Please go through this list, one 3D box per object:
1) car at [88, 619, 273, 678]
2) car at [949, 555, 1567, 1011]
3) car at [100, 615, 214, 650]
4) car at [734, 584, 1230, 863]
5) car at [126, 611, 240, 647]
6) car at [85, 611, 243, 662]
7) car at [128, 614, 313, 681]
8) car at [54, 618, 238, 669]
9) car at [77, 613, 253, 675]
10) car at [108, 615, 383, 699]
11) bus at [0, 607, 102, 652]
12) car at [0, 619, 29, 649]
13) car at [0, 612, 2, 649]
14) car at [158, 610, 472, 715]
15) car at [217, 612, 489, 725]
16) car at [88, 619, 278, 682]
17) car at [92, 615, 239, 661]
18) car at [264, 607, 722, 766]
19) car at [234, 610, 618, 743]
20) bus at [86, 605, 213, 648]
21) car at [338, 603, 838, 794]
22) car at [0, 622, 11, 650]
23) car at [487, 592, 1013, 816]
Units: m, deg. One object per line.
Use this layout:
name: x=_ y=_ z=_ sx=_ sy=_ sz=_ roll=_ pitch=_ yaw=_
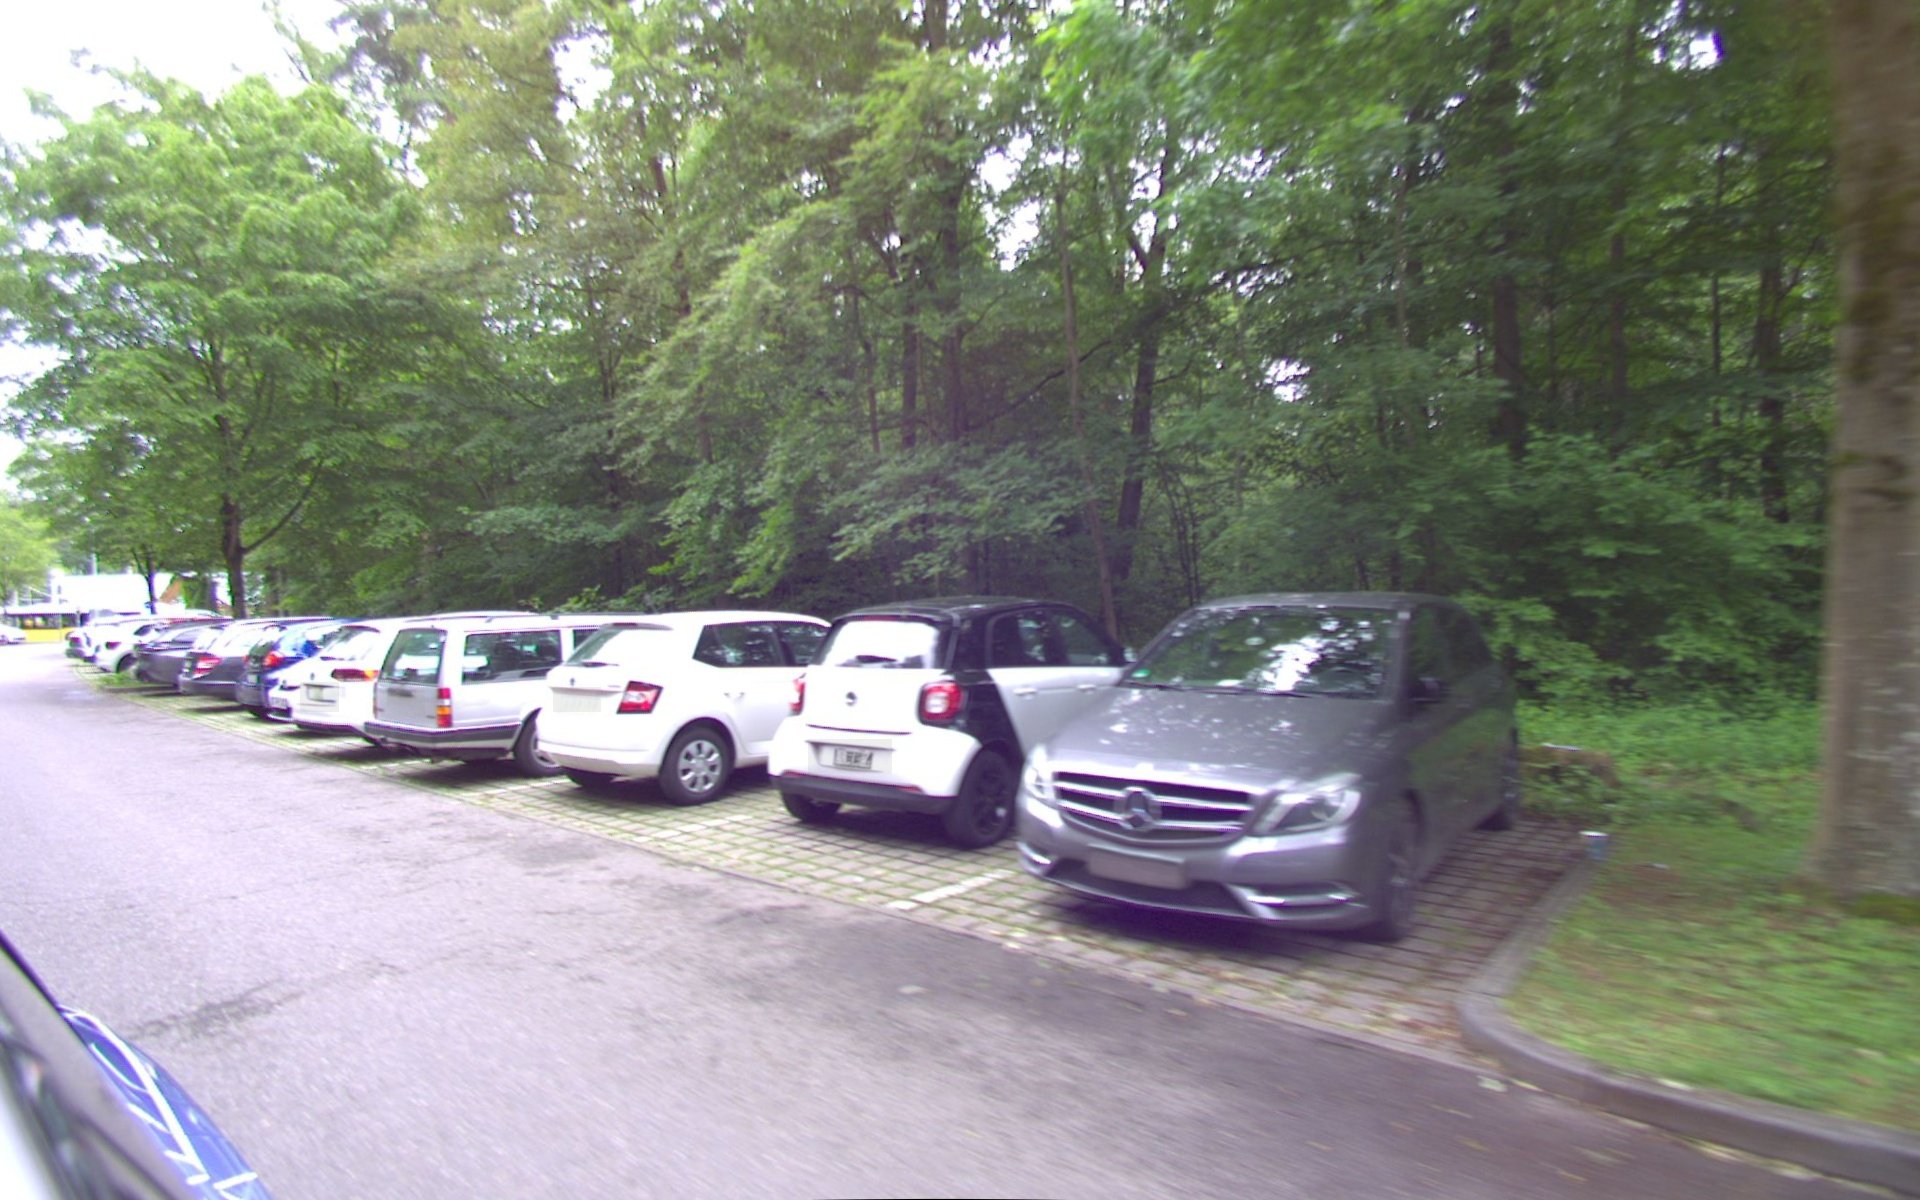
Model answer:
car: x=-21.207 y=1.267 z=27.622 sx=1.897 sy=1.432 sz=3.761 roll=-2 pitch=-1 yaw=43
car: x=1.949 y=0.627 z=5.650 sx=1.918 sy=1.567 sz=3.994 roll=-1 pitch=0 yaw=39
car: x=-40.139 y=1.574 z=50.735 sx=4.296 sy=1.610 sz=2.036 roll=-1 pitch=0 yaw=-34
car: x=0.456 y=0.692 z=7.927 sx=1.843 sy=1.562 sz=4.197 roll=-1 pitch=0 yaw=36
car: x=-45.198 y=1.651 z=59.029 sx=5.015 sy=1.930 sz=1.984 roll=-1 pitch=-1 yaw=-30
car: x=-27.681 y=1.228 z=35.281 sx=4.183 sy=1.660 sz=1.972 roll=0 pitch=-1 yaw=-43
car: x=-17.844 y=1.094 z=24.481 sx=3.424 sy=1.492 sz=1.685 roll=0 pitch=-1 yaw=-44
car: x=-26.597 y=1.374 z=33.164 sx=4.583 sy=1.489 sz=2.097 roll=0 pitch=-1 yaw=-42
car: x=-22.991 y=1.230 z=29.480 sx=3.907 sy=1.640 sz=2.003 roll=0 pitch=-1 yaw=-35
car: x=-14.627 y=1.089 z=20.869 sx=4.354 sy=1.435 sz=2.037 roll=-1 pitch=0 yaw=-45
bus: x=-71.473 y=2.225 z=76.007 sx=2.802 sy=3.183 sz=10.406 roll=-4 pitch=-2 yaw=31
car: x=-57.512 y=2.018 z=58.859 sx=4.456 sy=1.706 sz=2.172 roll=-1 pitch=0 yaw=-25
car: x=-54.881 y=1.760 z=54.339 sx=4.585 sy=2.036 sz=2.089 roll=-4 pitch=-1 yaw=-31
car: x=-10.986 y=0.974 z=17.413 sx=2.059 sy=1.497 sz=4.217 roll=-1 pitch=0 yaw=45
car: x=-9.158 y=0.952 z=15.411 sx=1.679 sy=1.455 sz=3.185 roll=-1 pitch=0 yaw=41
car: x=-19.791 y=1.231 z=25.844 sx=3.682 sy=1.430 sz=1.874 roll=0 pitch=-1 yaw=-44
car: x=-29.208 y=1.350 z=37.268 sx=4.182 sy=1.545 sz=1.765 roll=0 pitch=-1 yaw=-42
car: x=-5.300 y=0.855 z=12.052 sx=2.083 sy=1.458 sz=4.520 roll=-1 pitch=-1 yaw=37
car: x=-7.183 y=0.909 z=14.007 sx=1.890 sy=1.497 sz=4.323 roll=-1 pitch=0 yaw=39
bus: x=-66.772 y=2.118 z=83.560 sx=2.802 sy=3.183 sz=7.674 roll=-4 pitch=-2 yaw=31
car: x=-3.582 y=0.812 z=10.454 sx=1.869 sy=1.497 sz=4.515 roll=-1 pitch=-1 yaw=41
car: x=-56.221 y=2.133 z=56.705 sx=3.941 sy=1.567 sz=1.953 roll=-3 pitch=-1 yaw=-24
car: x=-1.647 y=0.717 z=9.318 sx=1.939 sy=1.497 sz=4.517 roll=-1 pitch=0 yaw=40
